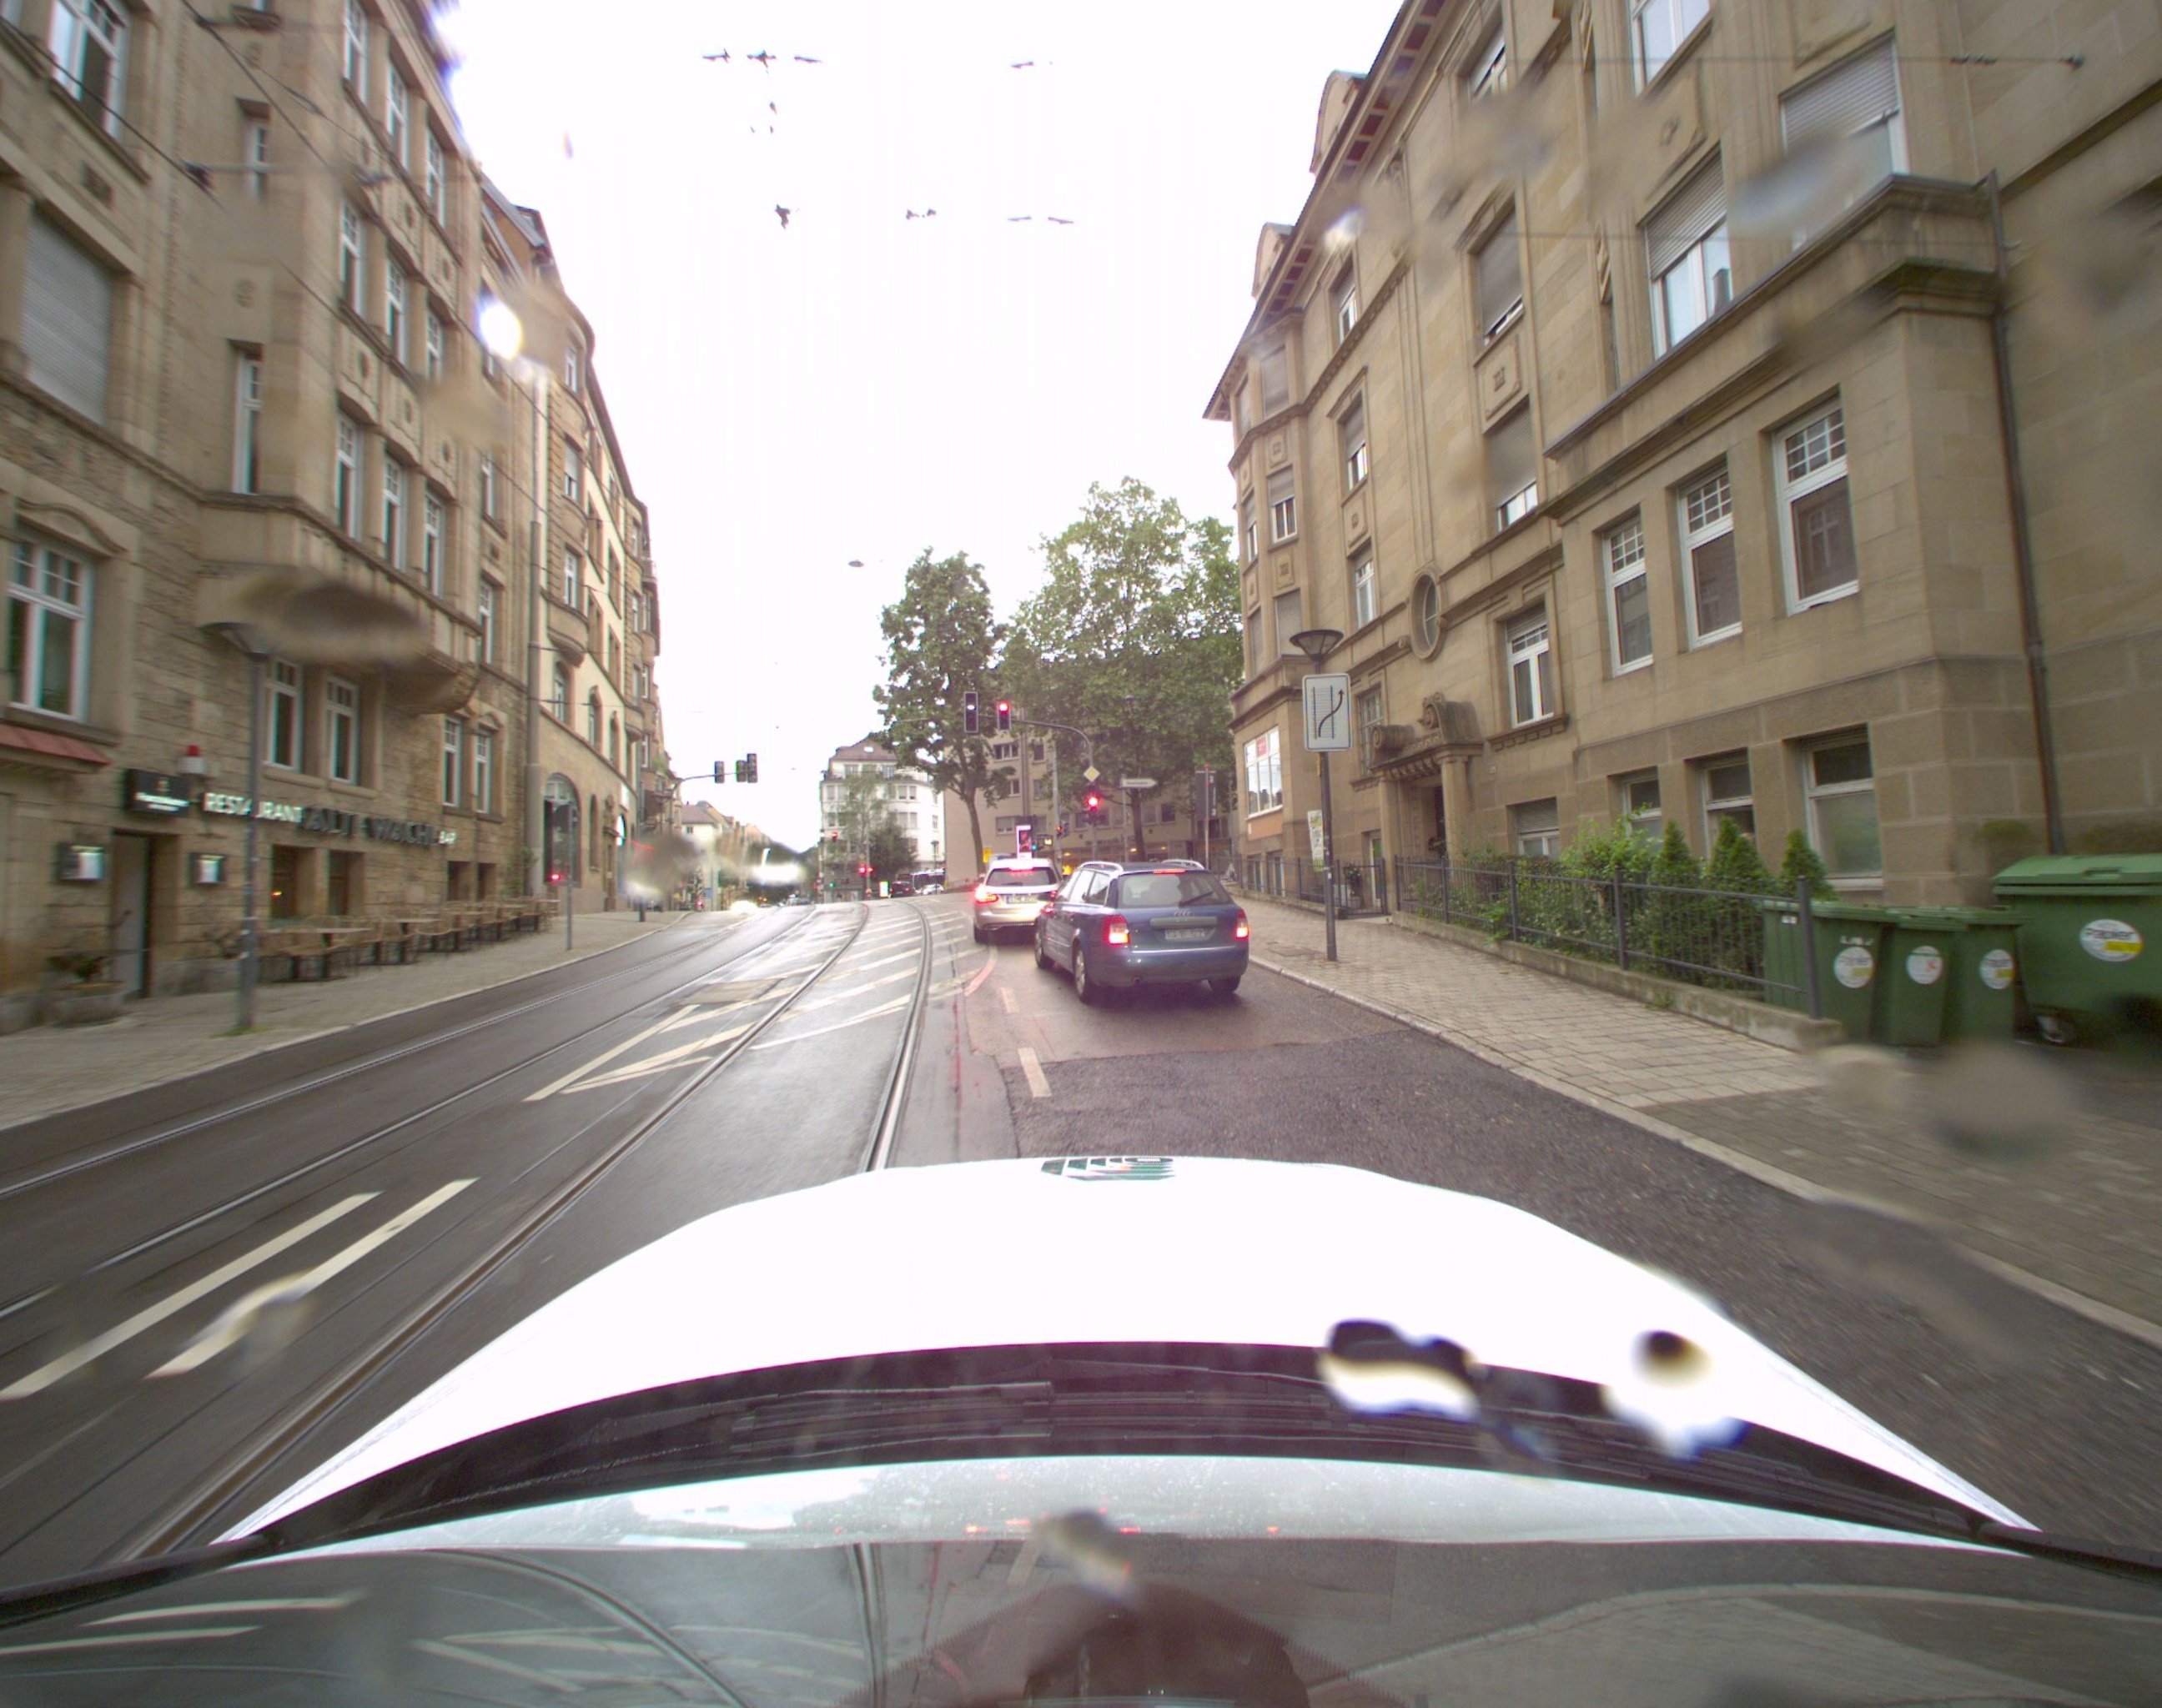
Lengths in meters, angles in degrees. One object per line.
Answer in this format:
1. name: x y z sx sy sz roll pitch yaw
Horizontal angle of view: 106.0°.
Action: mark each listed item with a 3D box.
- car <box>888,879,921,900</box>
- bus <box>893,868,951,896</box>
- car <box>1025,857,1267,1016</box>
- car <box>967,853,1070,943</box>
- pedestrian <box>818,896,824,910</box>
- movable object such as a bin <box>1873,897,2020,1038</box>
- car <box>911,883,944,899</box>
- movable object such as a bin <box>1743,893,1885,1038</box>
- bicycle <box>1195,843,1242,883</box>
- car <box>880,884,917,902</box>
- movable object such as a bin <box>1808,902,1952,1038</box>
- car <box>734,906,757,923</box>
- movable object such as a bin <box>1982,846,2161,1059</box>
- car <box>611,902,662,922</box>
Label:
1. car: -15.408 3.043 71.170 1.787 1.510 4.002 -5 0 2
2. bus: -18.992 3.315 97.867 2.832 2.861 8.773 -3 0 17
3. car: 0.519 0.776 9.734 1.712 1.415 4.018 -1 0 -13
4. car: -1.186 0.736 15.509 1.707 1.456 3.547 -1 0 -4
5. pedestrian: -31.029 5.849 97.357 0.650 1.661 0.646 -1 0 -18
6. movable object such as a bin: 6.787 0.872 6.410 0.537 1.026 0.602 2 -2 -9
7. car: -17.229 4.153 91.665 1.779 1.510 4.021 -3 0 21
8. movable object such as a bin: 5.576 0.824 6.219 0.537 1.026 0.602 2 -2 -9
9. bicycle: 4.398 0.297 26.115 1.300 1.173 0.524 -4 0 -10
10. car: -19.309 4.111 86.256 1.779 1.614 4.021 -3 0 21
11. movable object such as a bin: 6.153 0.875 6.297 0.537 0.968 0.602 2 -2 -9
12. car: -35.765 6.440 86.685 1.804 1.510 4.624 -3 0 -27
13. movable object such as a bin: 7.713 0.688 5.902 0.971 1.432 1.275 2 -2 -9
14. car: -40.867 5.291 74.972 4.007 1.510 1.785 -2 0 -25
